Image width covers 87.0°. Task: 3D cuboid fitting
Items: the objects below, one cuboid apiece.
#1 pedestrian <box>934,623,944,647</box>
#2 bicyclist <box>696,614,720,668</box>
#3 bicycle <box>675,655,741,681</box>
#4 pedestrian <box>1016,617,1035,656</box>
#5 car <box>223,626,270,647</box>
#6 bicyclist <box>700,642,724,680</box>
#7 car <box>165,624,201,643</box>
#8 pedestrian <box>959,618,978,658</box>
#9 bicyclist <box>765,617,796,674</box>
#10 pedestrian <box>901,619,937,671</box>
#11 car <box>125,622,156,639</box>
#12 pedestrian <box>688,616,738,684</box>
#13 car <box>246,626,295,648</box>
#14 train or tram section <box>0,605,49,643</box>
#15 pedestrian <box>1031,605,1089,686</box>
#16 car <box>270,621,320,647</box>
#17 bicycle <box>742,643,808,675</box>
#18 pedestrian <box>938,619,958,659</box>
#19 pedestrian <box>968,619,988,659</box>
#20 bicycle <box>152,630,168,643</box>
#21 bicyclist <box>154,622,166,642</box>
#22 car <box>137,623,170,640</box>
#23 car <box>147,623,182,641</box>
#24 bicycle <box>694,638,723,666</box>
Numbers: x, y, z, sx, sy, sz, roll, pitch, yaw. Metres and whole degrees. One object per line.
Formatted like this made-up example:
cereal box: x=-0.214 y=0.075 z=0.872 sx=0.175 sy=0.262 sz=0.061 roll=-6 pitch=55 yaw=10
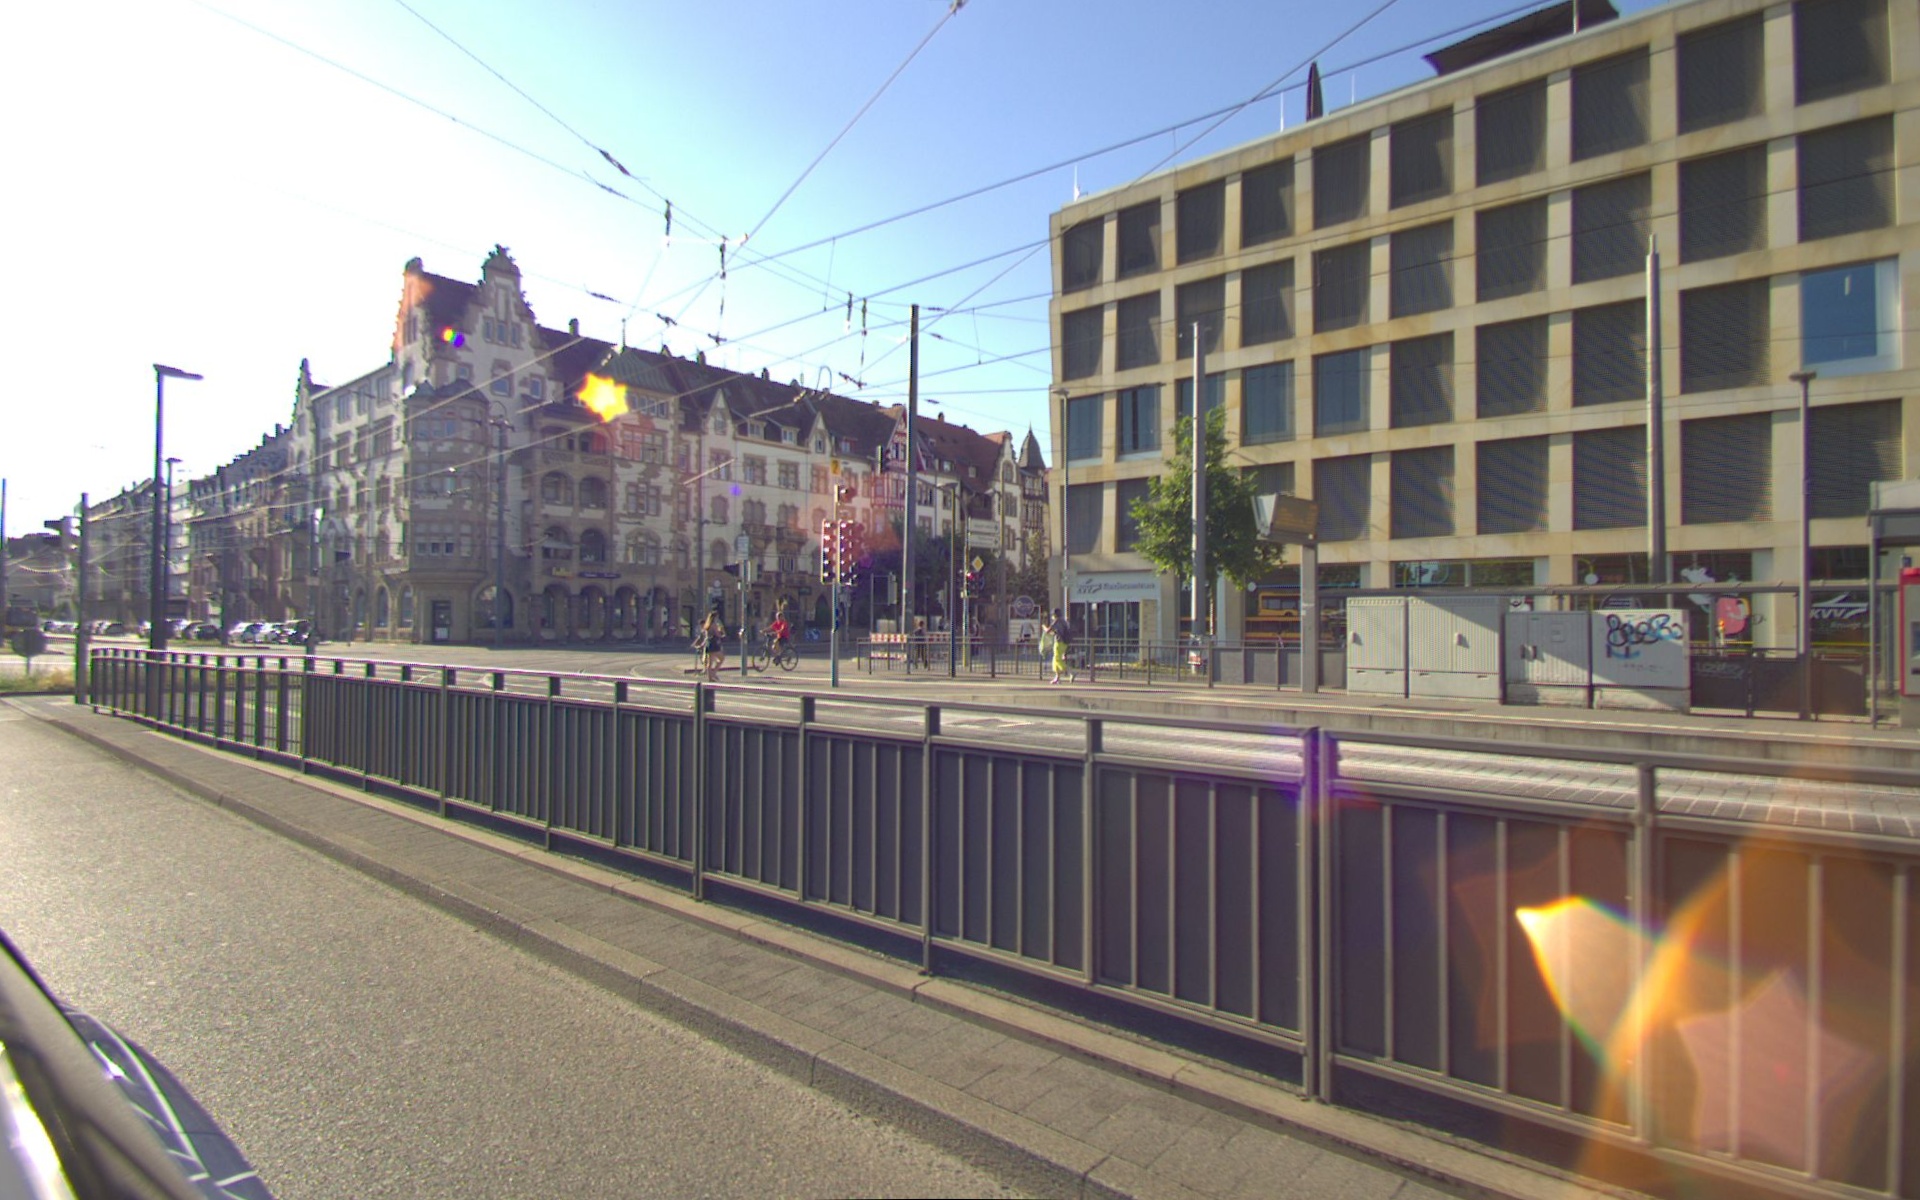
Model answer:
pedestrian: x=-1.482 y=2.482 z=71.978 sx=0.576 sy=1.695 sz=0.615 roll=0 pitch=-2 yaw=8
bicyclist: x=-8.590 y=1.385 z=34.548 sx=0.638 sy=1.821 sz=0.668 roll=0 pitch=-2 yaw=0
bicycle: x=-6.806 y=1.825 z=27.361 sx=1.700 sy=0.613 sz=0.512 roll=0 pitch=-1 yaw=-40
pedestrian: x=2.921 y=1.631 z=45.209 sx=0.607 sy=1.695 sz=0.583 roll=2 pitch=-2 yaw=-43
car: x=-53.516 y=2.732 z=75.910 sx=3.992 sy=1.536 sz=1.721 roll=-1 pitch=-1 yaw=37
bicyclist: x=-6.718 y=1.650 z=27.420 sx=0.456 sy=1.001 sz=0.512 roll=2 pitch=-2 yaw=-39
car: x=-66.659 y=2.842 z=86.841 sx=3.998 sy=1.536 sz=1.718 roll=-1 pitch=-1 yaw=41
pedestrian: x=0.364 y=1.642 z=43.449 sx=0.582 sy=1.695 sz=0.609 roll=-1 pitch=-2 yaw=39
bicyclist: x=-5.267 y=1.330 z=29.656 sx=0.620 sy=1.631 sz=0.685 roll=2 pitch=-2 yaw=-41
pedestrian: x=-1.327 y=1.442 z=32.779 sx=0.793 sy=1.657 sz=0.924 roll=-1 pitch=-2 yaw=28
car: x=-78.914 y=2.948 z=97.447 sx=3.998 sy=1.536 sz=1.718 roll=-1 pitch=-1 yaw=41
pedestrian: x=-6.162 y=1.230 z=25.290 sx=0.793 sy=1.657 sz=0.924 roll=-1 pitch=-2 yaw=28
car: x=-49.367 y=2.643 z=72.457 sx=4.427 sy=1.487 sz=1.706 roll=-1 pitch=-2 yaw=39
train or tram section: x=-92.601 y=2.462 z=99.138 sx=19.464 sy=3.425 sz=2.745 roll=-2 pitch=-2 yaw=41
pedestrian: x=2.117 y=0.945 z=21.378 sx=0.933 sy=1.657 sz=0.785 roll=-2 pitch=-2 yaw=43
car: x=-45.347 y=2.300 z=69.013 sx=3.996 sy=1.682 sz=1.758 roll=-1 pitch=-2 yaw=40
bicycle: x=-5.394 y=1.707 z=29.591 sx=1.861 sy=0.885 sz=0.608 roll=2 pitch=-2 yaw=-41
pedestrian: x=-0.505 y=1.648 z=42.879 sx=0.582 sy=1.695 sz=0.609 roll=-1 pitch=-2 yaw=39
pedestrian: x=0.802 y=1.689 z=43.999 sx=0.639 sy=1.695 sz=0.609 roll=-1 pitch=-2 yaw=38
bicycle: x=-66.152 y=2.997 z=83.706 sx=2.066 sy=1.010 sz=0.600 roll=-1 pitch=-2 yaw=39
bicyclist: x=-66.204 y=2.670 z=83.767 sx=0.630 sy=1.631 sz=0.675 roll=-1 pitch=-2 yaw=40
car: x=-75.260 y=2.918 z=94.396 sx=3.998 sy=1.536 sz=1.718 roll=-1 pitch=-1 yaw=41
car: x=-71.378 y=2.881 z=90.792 sx=3.998 sy=1.536 sz=1.718 roll=-1 pitch=-1 yaw=41
bicycle: x=-8.602 y=1.766 z=34.671 sx=0.507 sy=0.918 sz=1.889 roll=1 pitch=-2 yaw=0
